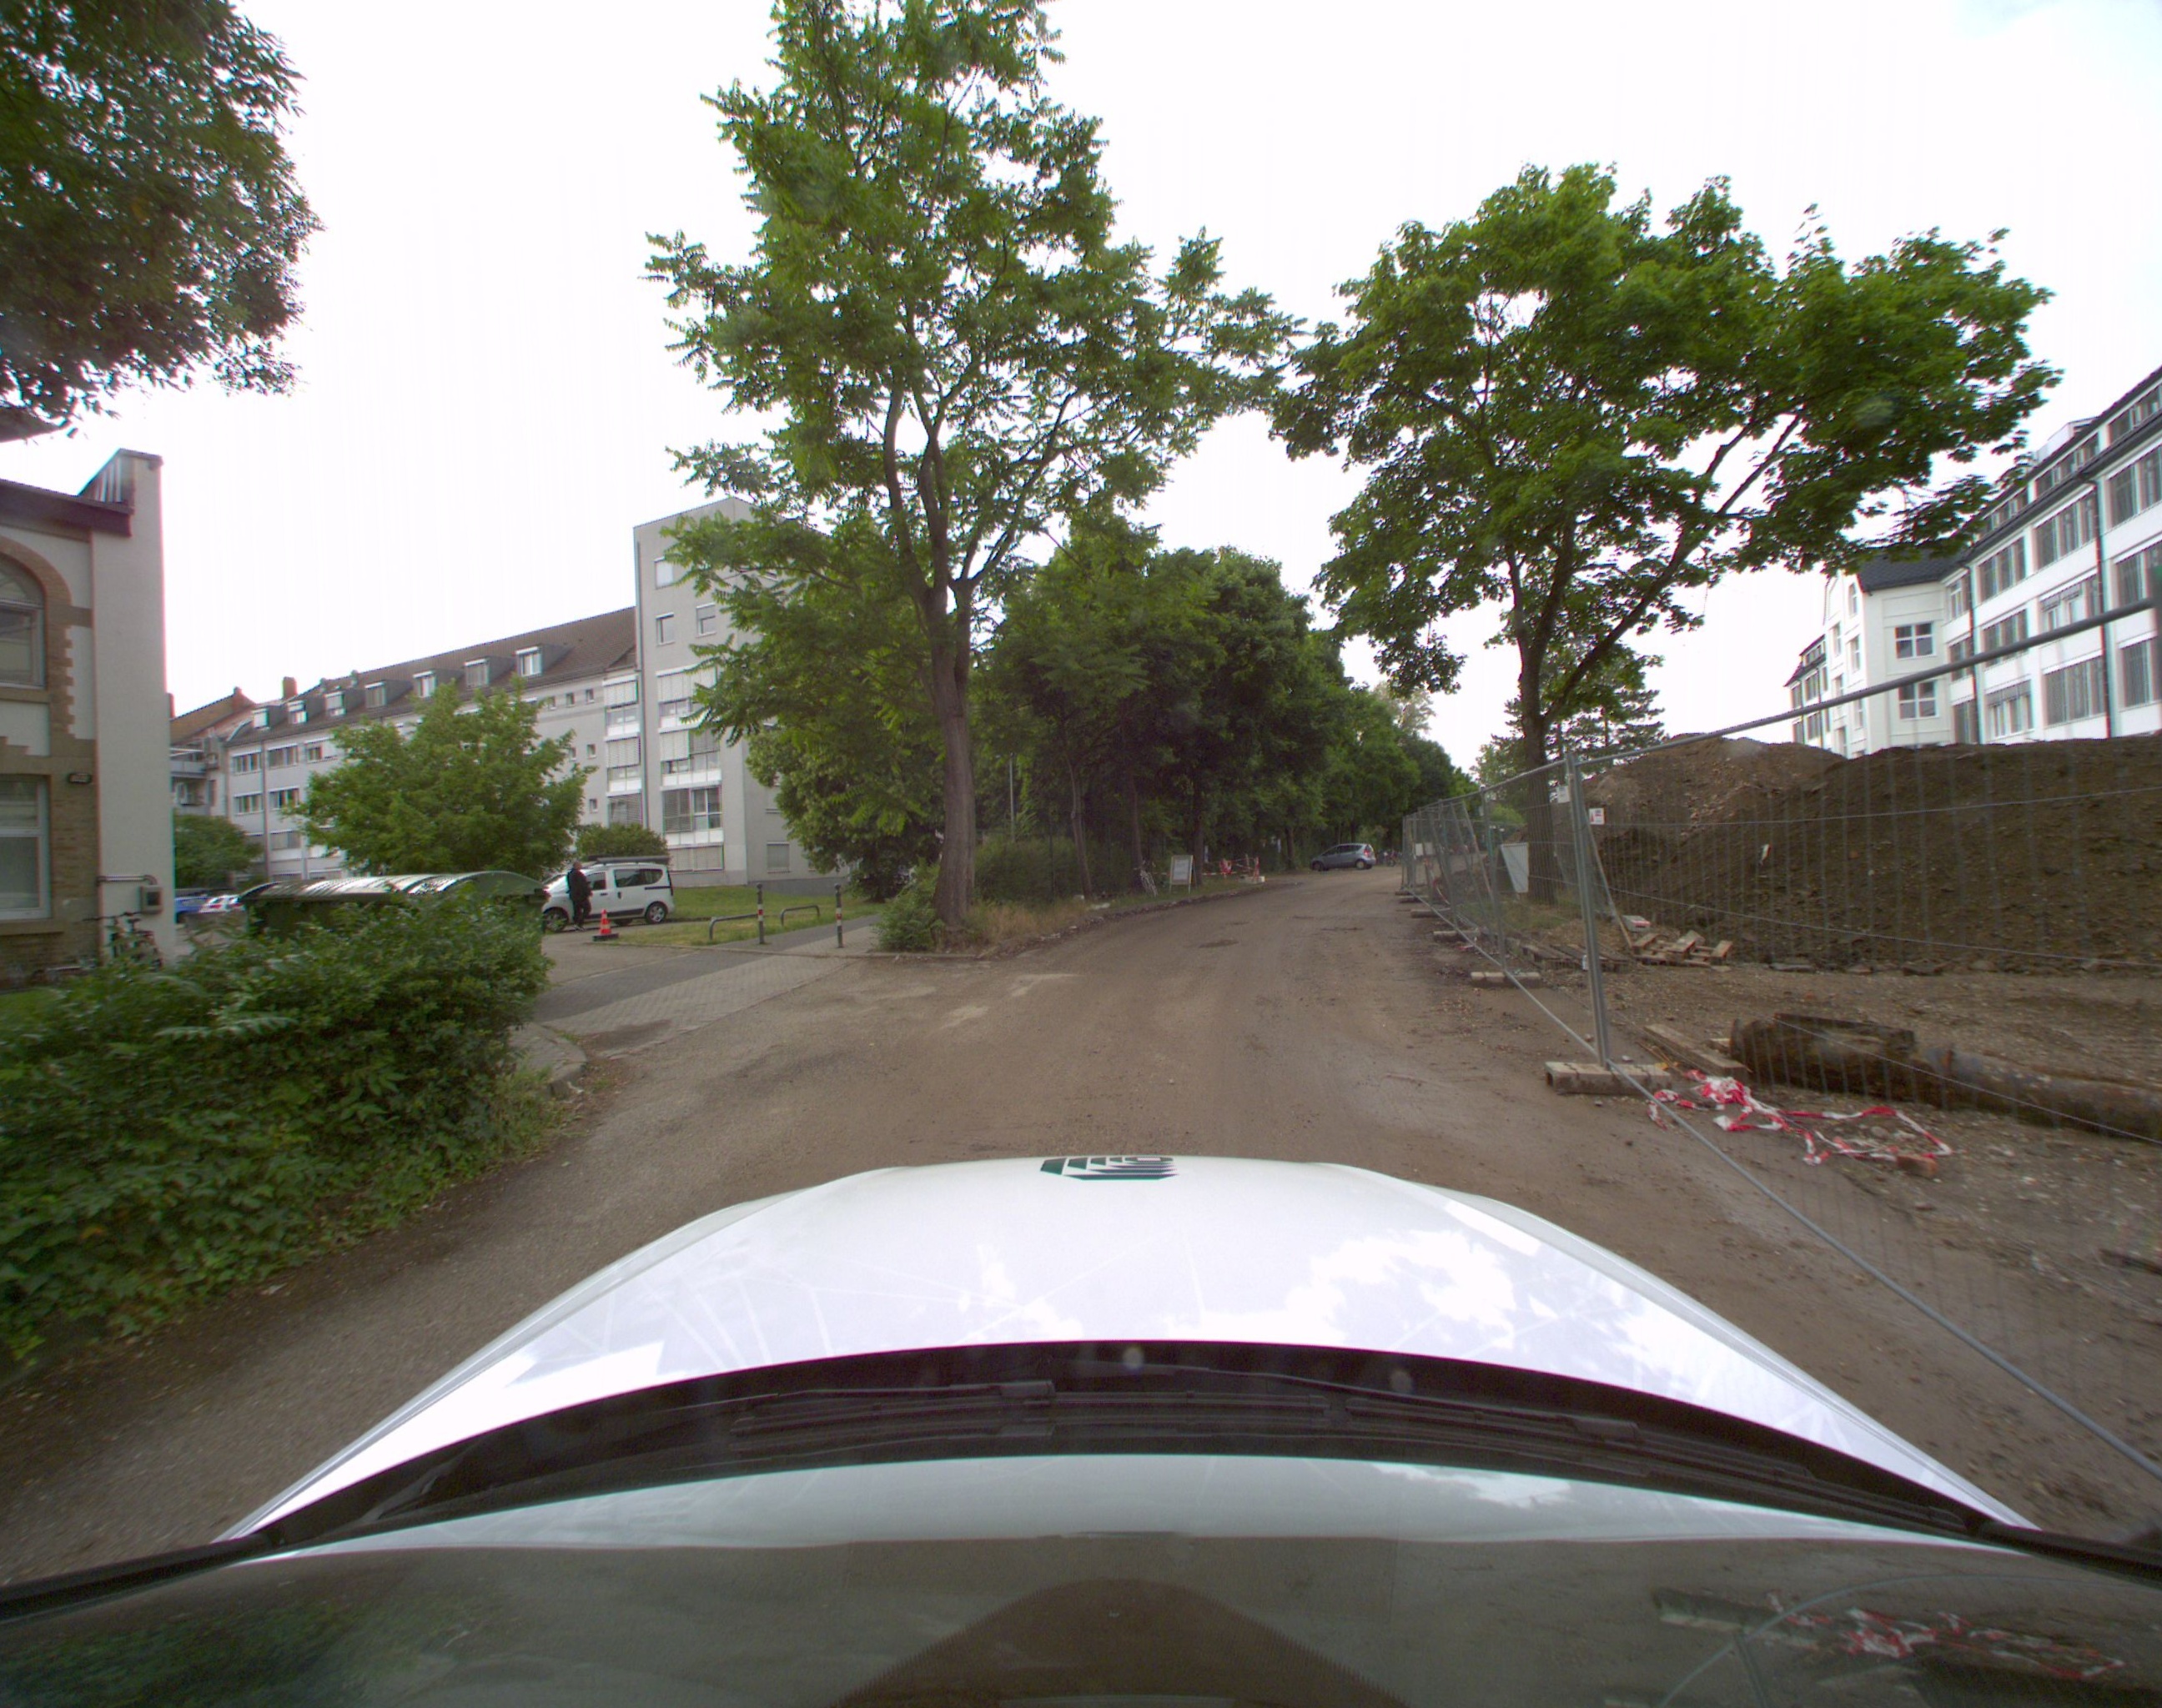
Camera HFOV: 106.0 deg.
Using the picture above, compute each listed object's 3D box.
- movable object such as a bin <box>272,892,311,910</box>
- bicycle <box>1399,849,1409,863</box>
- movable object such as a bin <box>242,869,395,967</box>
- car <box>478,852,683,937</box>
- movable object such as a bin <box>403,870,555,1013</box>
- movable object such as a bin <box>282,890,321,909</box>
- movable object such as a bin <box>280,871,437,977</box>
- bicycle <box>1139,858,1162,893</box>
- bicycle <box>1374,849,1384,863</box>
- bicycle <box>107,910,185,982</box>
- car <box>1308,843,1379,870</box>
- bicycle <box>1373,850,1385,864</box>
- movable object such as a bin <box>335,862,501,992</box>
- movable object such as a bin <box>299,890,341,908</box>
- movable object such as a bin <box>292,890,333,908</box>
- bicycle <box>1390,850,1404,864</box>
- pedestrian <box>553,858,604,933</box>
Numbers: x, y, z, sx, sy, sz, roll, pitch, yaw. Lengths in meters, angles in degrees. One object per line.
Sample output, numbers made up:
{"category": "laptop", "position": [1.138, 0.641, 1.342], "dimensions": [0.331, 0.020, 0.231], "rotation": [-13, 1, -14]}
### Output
{"category": "movable object such as a bin", "position": [-32.501, 1.930, 33.529], "dimensions": [0.859, 0.679, 0.974], "rotation": [-4, -1, 32]}
{"category": "bicycle", "position": [24.749, 0.146, 62.504], "dimensions": [0.583, 0.978, 2.041], "rotation": [-2, 0, 19]}
{"category": "movable object such as a bin", "position": [-10.684, 0.875, 11.441], "dimensions": [1.338, 1.265, 1.061], "rotation": [-2, 0, 21]}
{"category": "car", "position": [-13.436, 1.012, 22.163], "dimensions": [1.831, 2.014, 4.377], "rotation": [-4, -1, 26]}
{"category": "movable object such as a bin", "position": [-6.878, 0.926, 9.303], "dimensions": [1.337, 1.450, 1.062], "rotation": [-1, 1, 38]}
{"category": "movable object such as a bin", "position": [-31.681, 1.842, 33.104], "dimensions": [0.800, 0.679, 0.974], "rotation": [-4, -1, 32]}
{"category": "movable object such as a bin", "position": [-9.483, 0.887, 10.711], "dimensions": [1.337, 1.265, 1.062], "rotation": [-2, 0, 24]}
{"category": "bicycle", "position": [1.973, 0.592, 22.945], "dimensions": [0.415, 0.905, 1.158], "rotation": [4, 1, 14]}
{"category": "bicycle", "position": [21.957, 0.152, 59.988], "dimensions": [0.583, 0.978, 2.041], "rotation": [-2, 0, 19]}
{"category": "bicycle", "position": [-14.920, 1.442, 12.987], "dimensions": [1.805, 1.065, 0.398], "rotation": [-3, -1, 28]}
{"category": "car", "position": [15.848, 0.148, 49.138], "dimensions": [3.663, 1.500, 1.880], "rotation": [-2, 0, 33]}
{"category": "bicycle", "position": [21.096, 0.215, 57.661], "dimensions": [0.764, 0.978, 2.041], "rotation": [-2, 0, 19]}
{"category": "movable object such as a bin", "position": [-8.126, 0.863, 10.006], "dimensions": [1.337, 1.456, 1.062], "rotation": [-3, -1, 24]}
{"category": "movable object such as a bin", "position": [-29.933, 1.756, 32.046], "dimensions": [0.899, 0.637, 0.974], "rotation": [-4, -1, 32]}
{"category": "movable object such as a bin", "position": [-30.817, 1.798, 32.651], "dimensions": [0.899, 0.637, 0.974], "rotation": [-4, -1, 32]}
{"category": "bicycle", "position": [22.265, 0.211, 57.408], "dimensions": [0.764, 0.978, 2.041], "rotation": [-2, 0, 19]}
{"category": "pedestrian", "position": [-12.675, 1.035, 20.566], "dimensions": [0.689, 1.808, 0.761], "rotation": [-5, -1, 26]}
